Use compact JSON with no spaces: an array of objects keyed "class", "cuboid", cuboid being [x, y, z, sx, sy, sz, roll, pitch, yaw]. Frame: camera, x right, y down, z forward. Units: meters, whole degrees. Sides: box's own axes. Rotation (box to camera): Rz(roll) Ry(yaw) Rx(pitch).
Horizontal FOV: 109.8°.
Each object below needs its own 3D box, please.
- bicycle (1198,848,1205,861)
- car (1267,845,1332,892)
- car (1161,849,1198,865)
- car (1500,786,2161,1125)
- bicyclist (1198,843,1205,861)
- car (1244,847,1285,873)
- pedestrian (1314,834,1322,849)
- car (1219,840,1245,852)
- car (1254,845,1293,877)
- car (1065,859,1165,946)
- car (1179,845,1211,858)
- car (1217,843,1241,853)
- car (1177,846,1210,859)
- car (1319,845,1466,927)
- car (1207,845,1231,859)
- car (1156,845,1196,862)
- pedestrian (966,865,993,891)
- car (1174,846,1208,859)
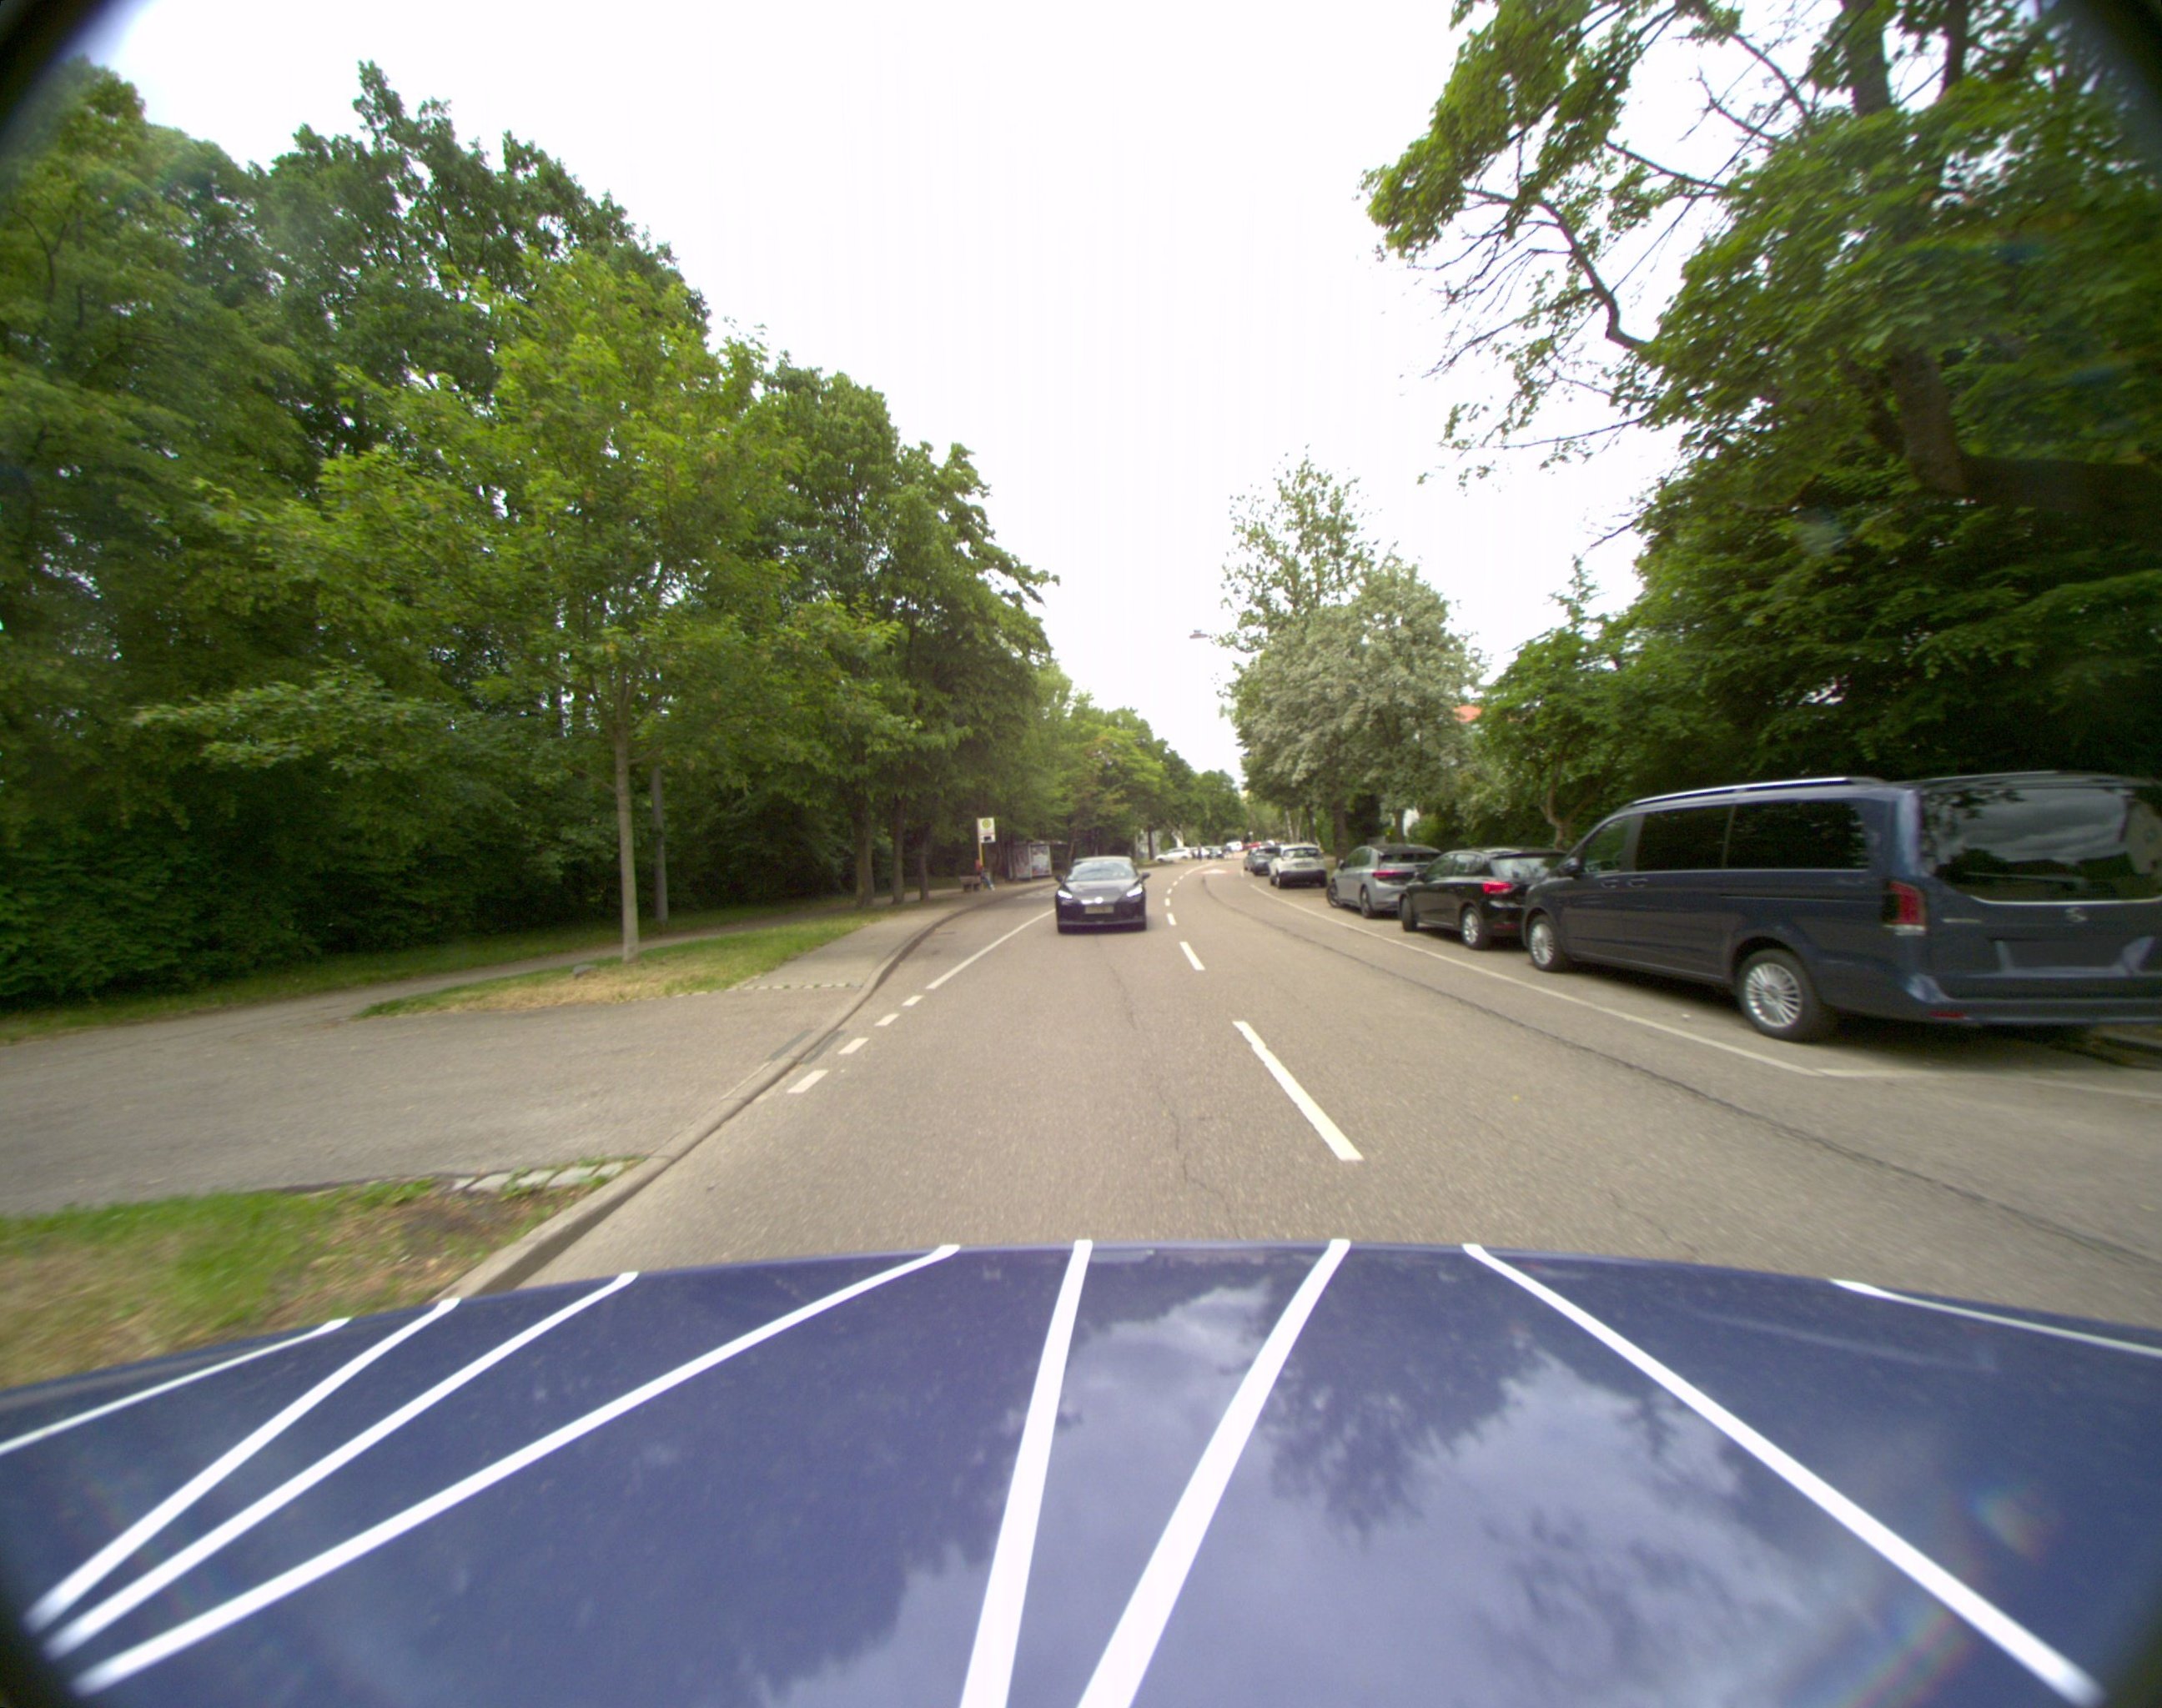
[{"class":"bicycle","cuboid":[12.598,0.055,79.261,0.647,1.230,1.878,-4,0,10]},{"class":"car","cuboid":[8.121,0.499,28.570,1.739,1.569,4.143,-2,0,8]},{"class":"car","cuboid":[11.658,0.346,90.113,4.143,1.455,1.798,-5,0,2]},{"class":"car","cuboid":[6.043,0.554,6.879,1.862,1.898,5.084,-3,0,3]},{"class":"bicyclist","cuboid":[12.567,-0.212,79.140,0.646,1.769,0.628,-3,1,9]},{"class":"car","cuboid":[10.858,0.321,45.184,1.739,1.408,4.473,-2,0,5]},{"class":"pedestrian","cuboid":[27.302,-1.477,87.474,0.693,1.701,0.779,-4,1,12]},{"class":"car","cuboid":[27.204,-1.368,136.937,4.220,1.748,1.858,-5,0,-4]},{"class":"car","cuboid":[10.121,0.306,40.134,1.738,1.529,4.192,-2,0,11]},{"class":"car","cuboid":[0.616,0.935,16.407,1.813,1.484,3.792,-4,1,-2]},{"class":"car","cuboid":[16.287,-0.342,108.237,4.001,1.455,1.849,-5,0,-12]},{"class":"car","cuboid":[26.049,-1.028,133.985,3.853,1.430,1.716,-5,0,7]},{"class":"car","cuboid":[15.332,-0.213,103.401,3.998,1.455,1.795,-5,0,-4]},{"class":"car","cuboid":[6.794,0.621,17.086,1.870,1.529,4.228,-3,0,5]},{"class":"car","cuboid":[16.102,-0.211,88.532,1.858,1.366,4.081,-4,0,22]},{"class":"car","cuboid":[11.057,-0.112,88.640,4.477,1.576,1.908,-5,0,8]},{"class":"pedestrian","cuboid":[-4.771,1.126,35.740,1.066,1.175,0.580,-3,1,6]},{"class":"car","cuboid":[14.588,-0.198,100.927,3.998,1.455,1.865,-5,0,-4]}]
